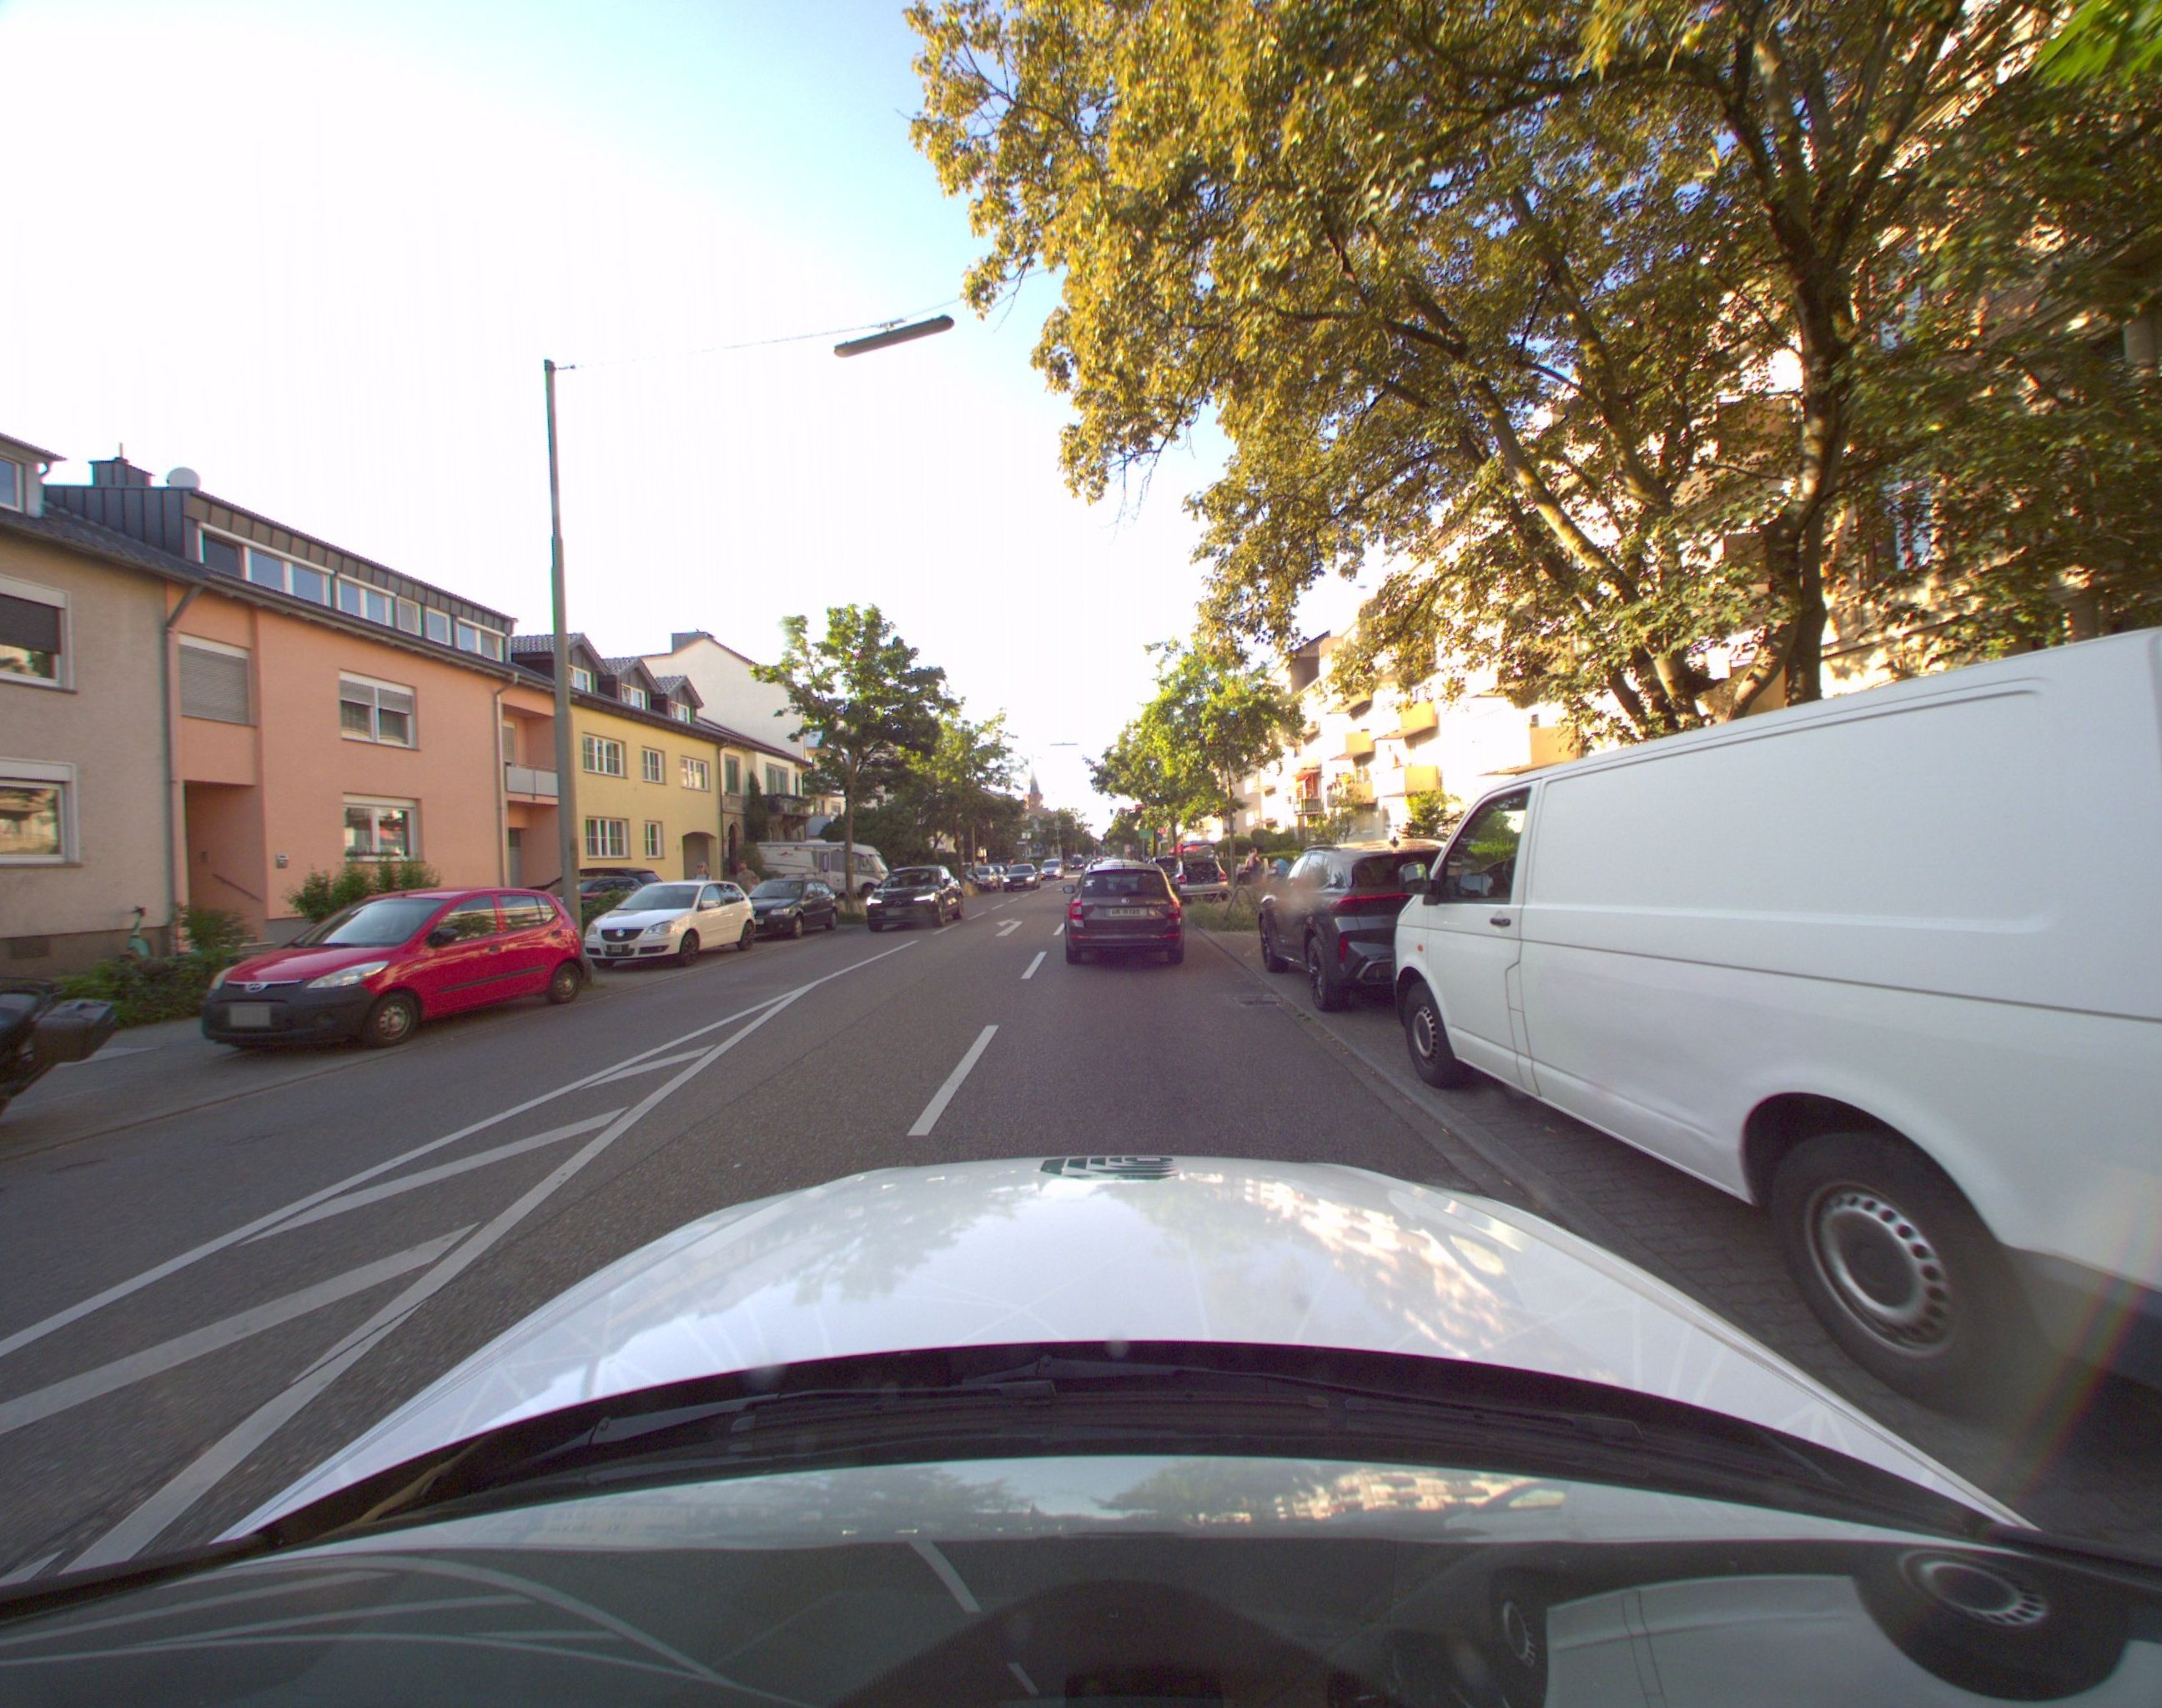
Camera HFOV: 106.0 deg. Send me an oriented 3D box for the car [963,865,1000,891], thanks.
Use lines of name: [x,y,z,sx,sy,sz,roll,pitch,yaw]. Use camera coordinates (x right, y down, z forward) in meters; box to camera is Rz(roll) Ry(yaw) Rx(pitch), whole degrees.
car: [-5.946,1.410,48.955,1.587,1.470,3.805,0,0,2]

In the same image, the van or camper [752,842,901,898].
van or camper: [-12.779,0.789,41.235,6.774,2.773,2.352,0,-1,0]

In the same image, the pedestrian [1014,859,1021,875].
pedestrian: [-7.128,1.486,91.386,0.613,1.797,0.504,-3,-1,2]

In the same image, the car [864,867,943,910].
car: [-6.750,1.271,31.421,1.860,1.494,4.519,-1,0,2]

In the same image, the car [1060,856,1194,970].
car: [0.675,0.806,13.064,1.766,1.489,4.312,-1,0,1]

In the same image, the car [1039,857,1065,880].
car: [-2.430,1.204,69.119,1.799,1.804,4.747,-4,-1,2]

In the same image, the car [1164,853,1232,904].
car: [3.875,0.773,27.670,1.702,1.480,4.269,-4,0,2]

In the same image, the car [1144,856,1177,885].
car: [4.418,0.880,45.669,1.696,1.450,4.018,-4,0,4]

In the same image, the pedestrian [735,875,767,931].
pedestrian: [-9.254,1.366,22.867,0.587,1.496,0.543,-3,-1,4]

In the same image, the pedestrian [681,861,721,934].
pedestrian: [-9.688,1.100,20.760,0.710,1.792,0.506,-3,-1,4]

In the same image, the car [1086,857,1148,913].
car: [1.101,0.886,24.874,1.730,1.571,4.003,-1,0,3]

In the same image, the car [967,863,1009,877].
car: [-10.866,1.832,95.173,4.617,1.535,1.862,-1,-1,1]

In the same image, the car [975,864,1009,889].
car: [-5.786,1.411,53.310,1.642,1.517,4.075,-1,0,2]

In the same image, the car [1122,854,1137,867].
car: [6.890,0.870,115.064,1.984,1.772,4.005,-1,0,5]

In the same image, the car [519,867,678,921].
car: [-15.346,1.245,26.060,3.971,1.636,1.867,0,0,2]

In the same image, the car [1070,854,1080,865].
car: [-1.287,1.184,187.852,1.986,2.478,4.002,-3,-1,2]

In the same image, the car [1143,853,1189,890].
car: [4.151,0.826,40.139,1.849,1.581,4.015,-4,0,1]

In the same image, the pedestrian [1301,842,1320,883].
pedestrian: [9.463,0.355,33.654,0.475,1.640,0.533,-2,-1,-17]

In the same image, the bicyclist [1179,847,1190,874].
bicyclist: [6.852,0.417,54.036,0.579,1.789,0.852,-2,-1,2]

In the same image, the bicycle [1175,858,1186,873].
bicycle: [6.590,0.750,54.070,0.514,0.987,1.832,-2,0,2]

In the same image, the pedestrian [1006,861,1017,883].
pedestrian: [-6.345,1.618,74.297,0.777,1.987,0.821,-3,-1,2]

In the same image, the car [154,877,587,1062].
car: [-7.446,1.091,9.038,1.585,1.523,3.440,-2,0,5]

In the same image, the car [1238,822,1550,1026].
car: [3.116,0.616,9.194,1.849,1.603,4.312,-5,0,1]

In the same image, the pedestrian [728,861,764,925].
pedestrian: [-9.715,1.113,23.601,0.710,1.792,0.572,-3,-1,4]

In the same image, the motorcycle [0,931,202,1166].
motorcycle: [-7.190,1.247,5.216,1.184,1.266,2.352,-3,-1,-22]

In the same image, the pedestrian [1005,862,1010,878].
pedestrian: [-8.276,1.805,91.792,0.447,1.797,0.504,-3,-1,2]

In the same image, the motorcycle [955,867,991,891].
motorcycle: [-5.963,1.398,44.970,2.028,1.265,0.772,-3,-1,40]

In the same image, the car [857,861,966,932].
car: [-4.328,1.049,21.465,1.829,1.570,4.001,-4,-1,1]

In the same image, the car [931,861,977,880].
car: [-13.878,1.788,89.248,4.617,1.812,1.862,-3,-1,1]

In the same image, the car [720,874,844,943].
car: [-7.200,1.256,19.970,1.537,1.396,3.667,-2,0,2]

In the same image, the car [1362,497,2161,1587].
car: [3.033,0.357,3.644,1.897,2.103,4.640,-2,0,0]

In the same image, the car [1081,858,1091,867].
car: [1.077,1.698,164.011,1.823,1.579,4.002,-3,0,2]

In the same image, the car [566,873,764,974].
car: [-7.535,1.176,15.206,1.587,1.523,3.891,-2,0,1]

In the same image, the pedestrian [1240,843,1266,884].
pedestrian: [6.997,0.377,33.176,0.748,1.640,0.700,-3,-1,38]

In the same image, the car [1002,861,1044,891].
car: [-3.230,1.210,46.132,1.754,1.452,4.536,-5,0,2]

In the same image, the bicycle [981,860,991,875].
bicycle: [-6.969,0.993,59.599,0.484,1.064,1.534,-2,-1,1]

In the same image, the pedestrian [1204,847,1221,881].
pedestrian: [6.998,0.552,43.312,0.660,1.749,0.772,-4,-1,1]

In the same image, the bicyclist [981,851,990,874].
bicyclist: [-6.993,0.612,59.568,0.467,1.663,0.552,-2,-1,1]

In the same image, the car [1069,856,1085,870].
car: [-0.562,1.334,120.421,1.986,1.908,4.965,-4,-1,2]
